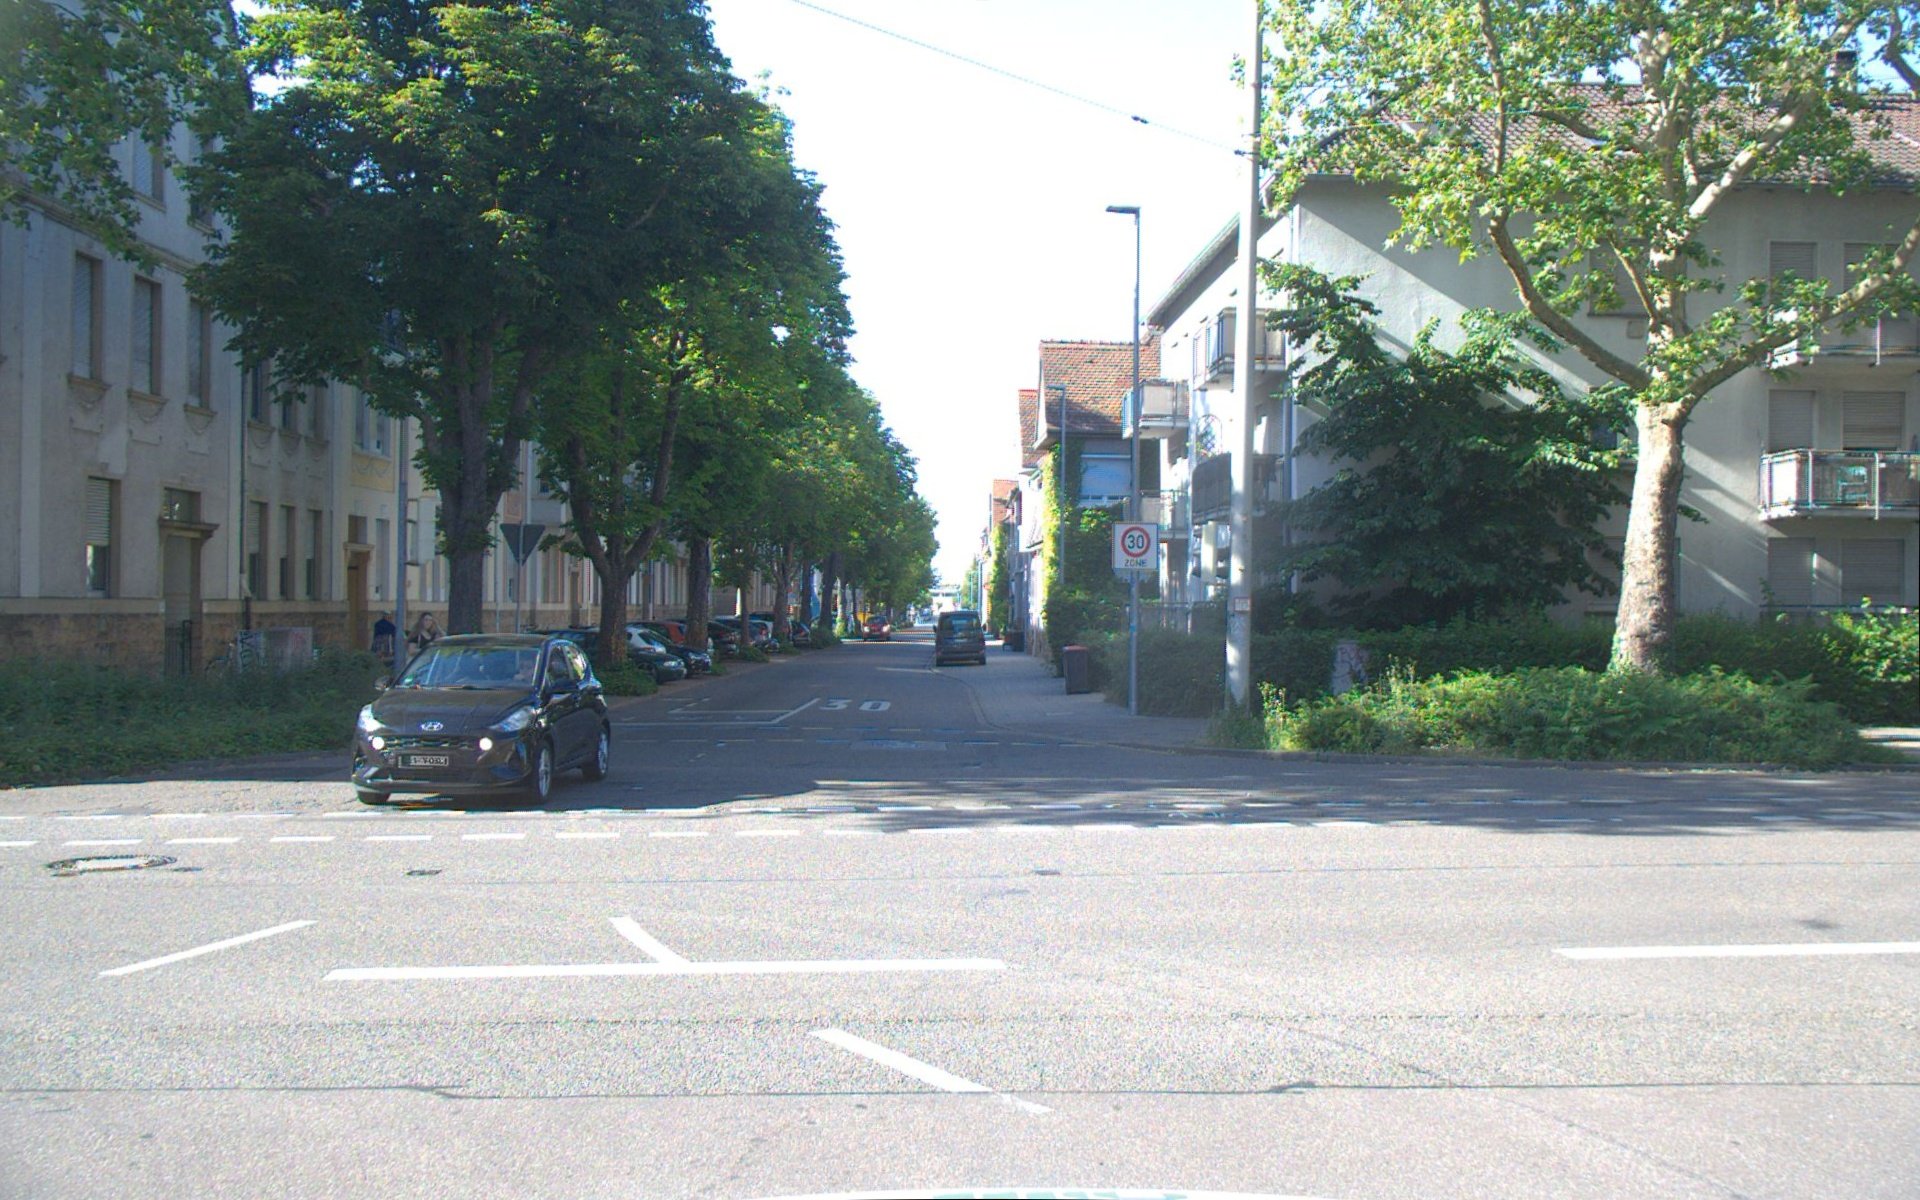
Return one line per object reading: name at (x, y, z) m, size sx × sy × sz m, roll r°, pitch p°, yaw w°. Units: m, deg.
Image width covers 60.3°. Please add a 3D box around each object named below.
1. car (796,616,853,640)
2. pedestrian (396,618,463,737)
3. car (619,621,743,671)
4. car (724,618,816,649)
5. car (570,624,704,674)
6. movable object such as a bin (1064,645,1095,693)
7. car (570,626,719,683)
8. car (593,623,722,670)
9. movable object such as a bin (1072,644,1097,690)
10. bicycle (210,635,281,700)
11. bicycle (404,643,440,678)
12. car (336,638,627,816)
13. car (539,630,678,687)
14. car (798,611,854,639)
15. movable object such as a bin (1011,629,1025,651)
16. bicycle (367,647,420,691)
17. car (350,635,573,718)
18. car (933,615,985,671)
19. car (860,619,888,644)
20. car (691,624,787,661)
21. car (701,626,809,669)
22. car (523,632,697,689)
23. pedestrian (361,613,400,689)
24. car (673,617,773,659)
car at (-9.479, 1.996, 116.316) m, size 3.908 × 1.490 × 1.796 m, roll 3°, pitch -1°, yaw -4°
pedestrian at (-7.791, 1.121, 24.300) m, size 0.679 × 1.711 × 0.680 m, roll 0°, pitch -1°, yaw 10°
car at (-9.655, 1.591, 57.435) m, size 3.905 × 1.594 × 1.863 m, roll 1°, pitch -1°, yaw 1°
car at (-9.608, 1.689, 83.713) m, size 4.440 × 1.529 × 1.891 m, roll 1°, pitch -1°, yaw -2°
car at (-10.266, 1.551, 52.683) m, size 3.905 × 1.534 × 1.722 m, roll -1°, pitch -1°, yaw 1°
movable object such as a bin at (2.795, 1.594, 38.592) m, size 0.585 × 1.062 × 0.707 m, roll -3°, pitch -1°, yaw -3°
car at (-9.073, 1.557, 47.822) m, size 3.905 × 1.508 × 1.785 m, roll 1°, pitch -1°, yaw 1°
car at (-10.032, 1.542, 55.109) m, size 3.905 × 1.428 × 1.830 m, roll 2°, pitch -1°, yaw 1°
movable object such as a bin at (2.970, 1.596, 39.451) m, size 0.474 × 1.062 × 0.656 m, roll -3°, pitch -1°, yaw -3°
bicycle at (-14.223, 1.324, 32.970) m, size 0.503 × 1.174 × 1.982 m, roll 2°, pitch 0°, yaw 0°
bicycle at (-13.669, 1.531, 42.035) m, size 0.561 × 0.830 × 0.967 m, roll 3°, pitch -1°, yaw -2°
car at (-4.415, 1.132, 15.833) m, size 1.626 × 1.490 × 3.808 m, roll 0°, pitch -2°, yaw 0°
car at (-9.603, 1.588, 45.316) m, size 3.362 × 1.477 × 1.703 m, roll 1°, pitch -1°, yaw 2°
car at (-9.589, 1.794, 118.647) m, size 3.908 × 1.791 × 1.796 m, roll 3°, pitch -1°, yaw -4°
movable object such as a bin at (2.929, 1.996, 82.952) m, size 0.634 × 1.058 × 0.827 m, roll 0°, pitch -1°, yaw -3°
bicycle at (-12.601, 1.517, 36.822) m, size 0.462 × 0.928 × 1.598 m, roll 0°, pitch -1°, yaw 7°
car at (-9.561, 1.452, 31.910) m, size 3.803 × 1.502 × 1.615 m, roll -1°, pitch -1°, yaw -1°
car at (-0.039, 1.579, 62.113) m, size 1.827 × 1.949 × 4.782 m, roll 1°, pitch 0°, yaw 0°
car at (-5.494, 1.994, 105.698) m, size 1.608 × 1.535 × 3.701 m, roll -1°, pitch 0°, yaw -1°
car at (-9.591, 1.837, 71.933) m, size 3.820 × 1.471 × 1.860 m, roll 1°, pitch -1°, yaw 4°
car at (-7.836, 1.820, 63.476) m, size 3.906 × 1.541 × 1.747 m, roll 1°, pitch -1°, yaw -1°
car at (-9.050, 1.565, 42.945) m, size 4.126 × 1.372 × 1.703 m, roll 1°, pitch -1°, yaw -1°
pedestrian at (-13.018, 1.142, 37.144) m, size 0.450 × 1.687 × 0.895 m, roll 0°, pitch -1°, yaw 8°
car at (-9.885, 1.573, 69.220) m, size 3.906 × 1.620 × 1.859 m, roll 1°, pitch -1°, yaw -1°
